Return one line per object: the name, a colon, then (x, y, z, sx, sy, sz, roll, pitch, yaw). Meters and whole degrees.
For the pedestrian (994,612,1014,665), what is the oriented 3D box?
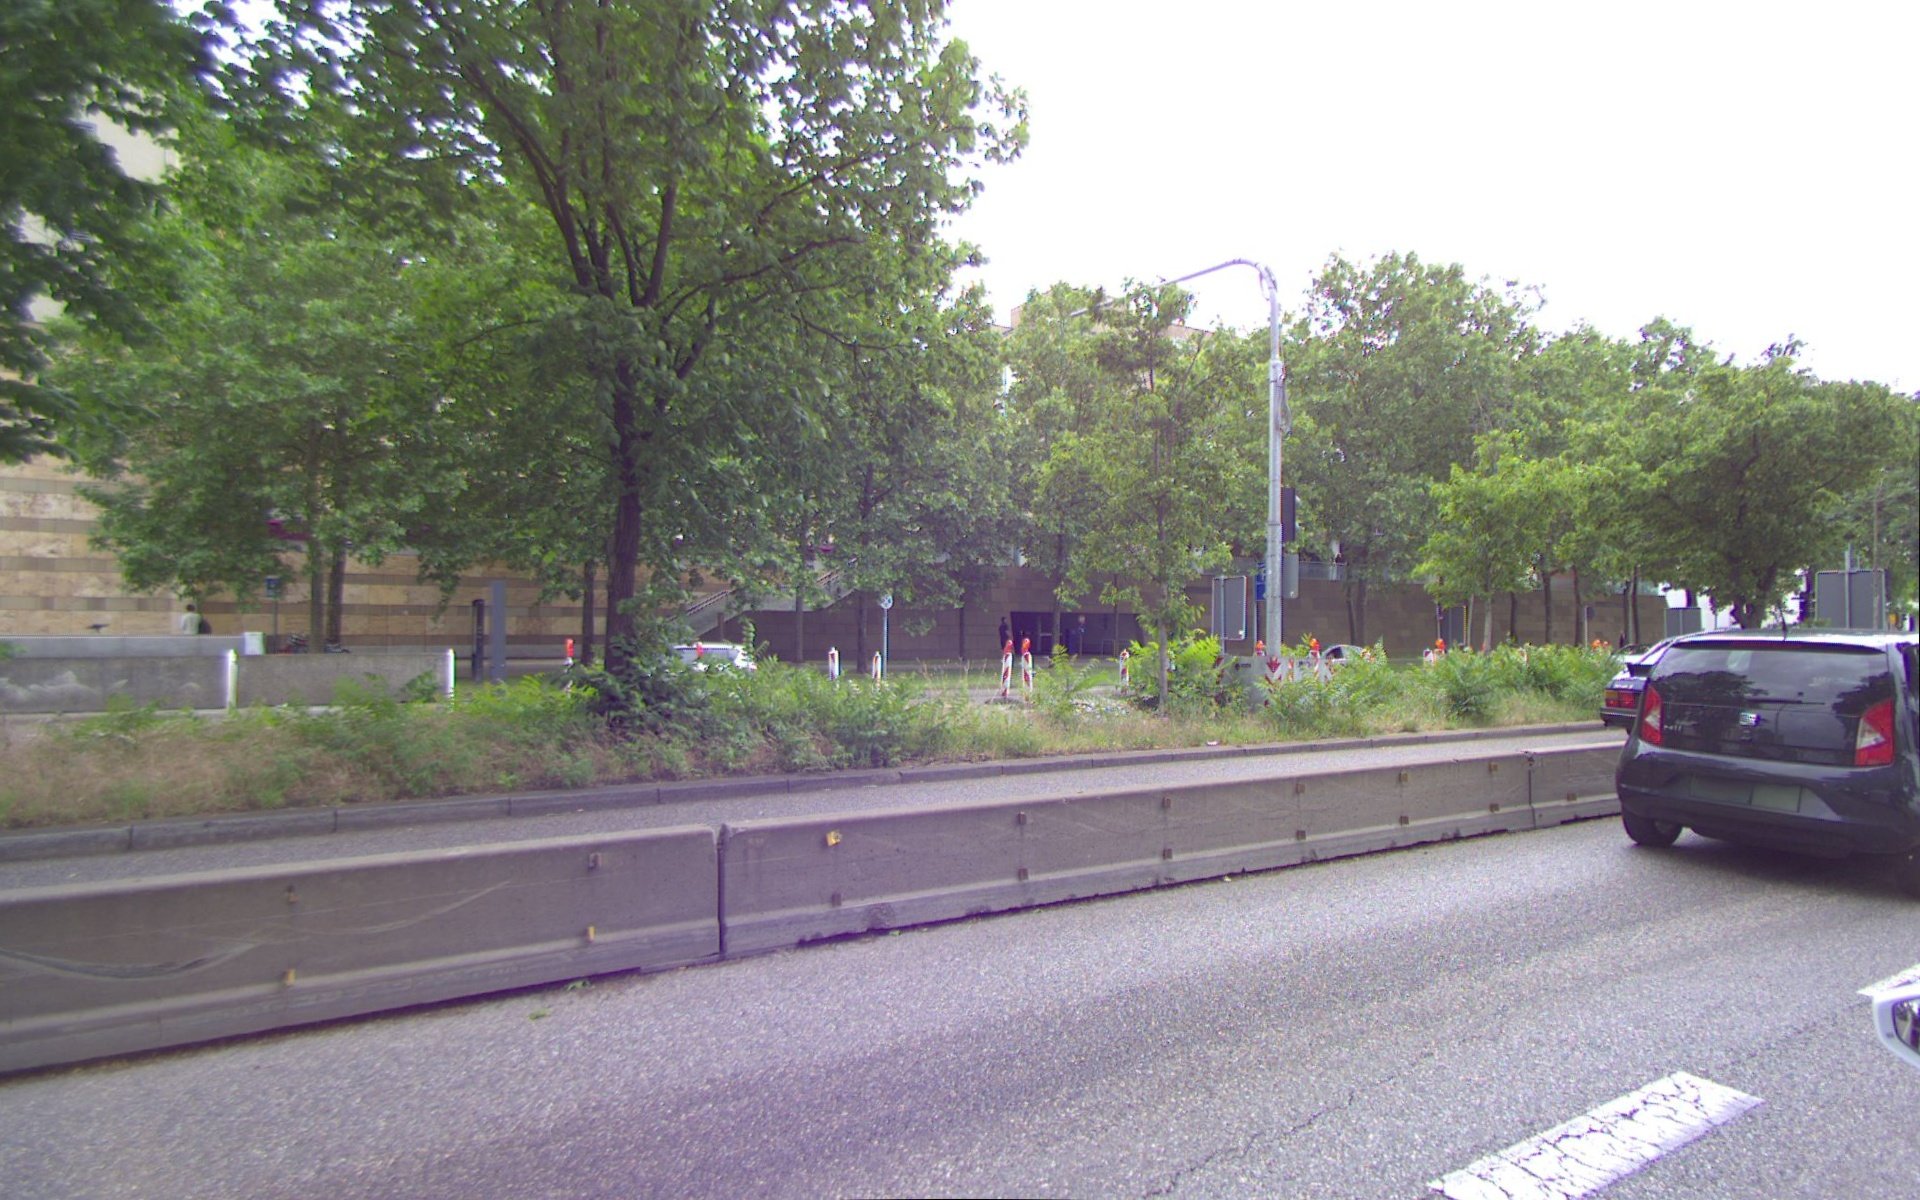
pedestrian: (1.709, 1.507, 39.137, 0.657, 2.040, 0.449, 1, -1, -30)

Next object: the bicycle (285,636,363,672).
bicycle: (-18.360, 1.565, 29.051, 1.820, 1.004, 0.564, 2, 0, -25)

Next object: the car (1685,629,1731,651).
car: (67.811, 3.592, 91.075, 3.954, 1.940, 1.984, 1, -1, -31)

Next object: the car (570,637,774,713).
car: (-6.238, 1.566, 21.837, 3.953, 1.477, 1.840, 1, -1, -30)

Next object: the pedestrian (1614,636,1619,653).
pedestrian: (42.475, 2.870, 64.987, 0.212, 1.093, 0.257, 2, 1, 42)

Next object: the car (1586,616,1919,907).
car: (6.028, 0.881, 6.770, 3.579, 1.493, 1.601, 1, -1, -30)

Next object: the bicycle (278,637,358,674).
bicycle: (-18.127, 1.574, 28.393, 1.820, 1.008, 0.487, 2, 0, -25)

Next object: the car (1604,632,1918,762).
car: (10.267, 1.122, 12.789, 4.490, 1.385, 1.670, 1, -1, -31)

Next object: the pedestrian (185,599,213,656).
pedestrian: (-21.495, 0.769, 28.377, 0.616, 1.590, 0.434, 1, -1, -38)

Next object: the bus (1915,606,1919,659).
bus: (65.819, 2.115, 63.858, 14.106, 3.248, 3.650, 1, -1, -30)

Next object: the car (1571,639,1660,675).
car: (27.291, 2.349, 41.786, 3.759, 1.401, 1.652, 1, -1, -31)

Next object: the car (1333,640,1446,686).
car: (14.684, 2.123, 34.328, 3.756, 1.461, 1.721, 1, -1, -32)
